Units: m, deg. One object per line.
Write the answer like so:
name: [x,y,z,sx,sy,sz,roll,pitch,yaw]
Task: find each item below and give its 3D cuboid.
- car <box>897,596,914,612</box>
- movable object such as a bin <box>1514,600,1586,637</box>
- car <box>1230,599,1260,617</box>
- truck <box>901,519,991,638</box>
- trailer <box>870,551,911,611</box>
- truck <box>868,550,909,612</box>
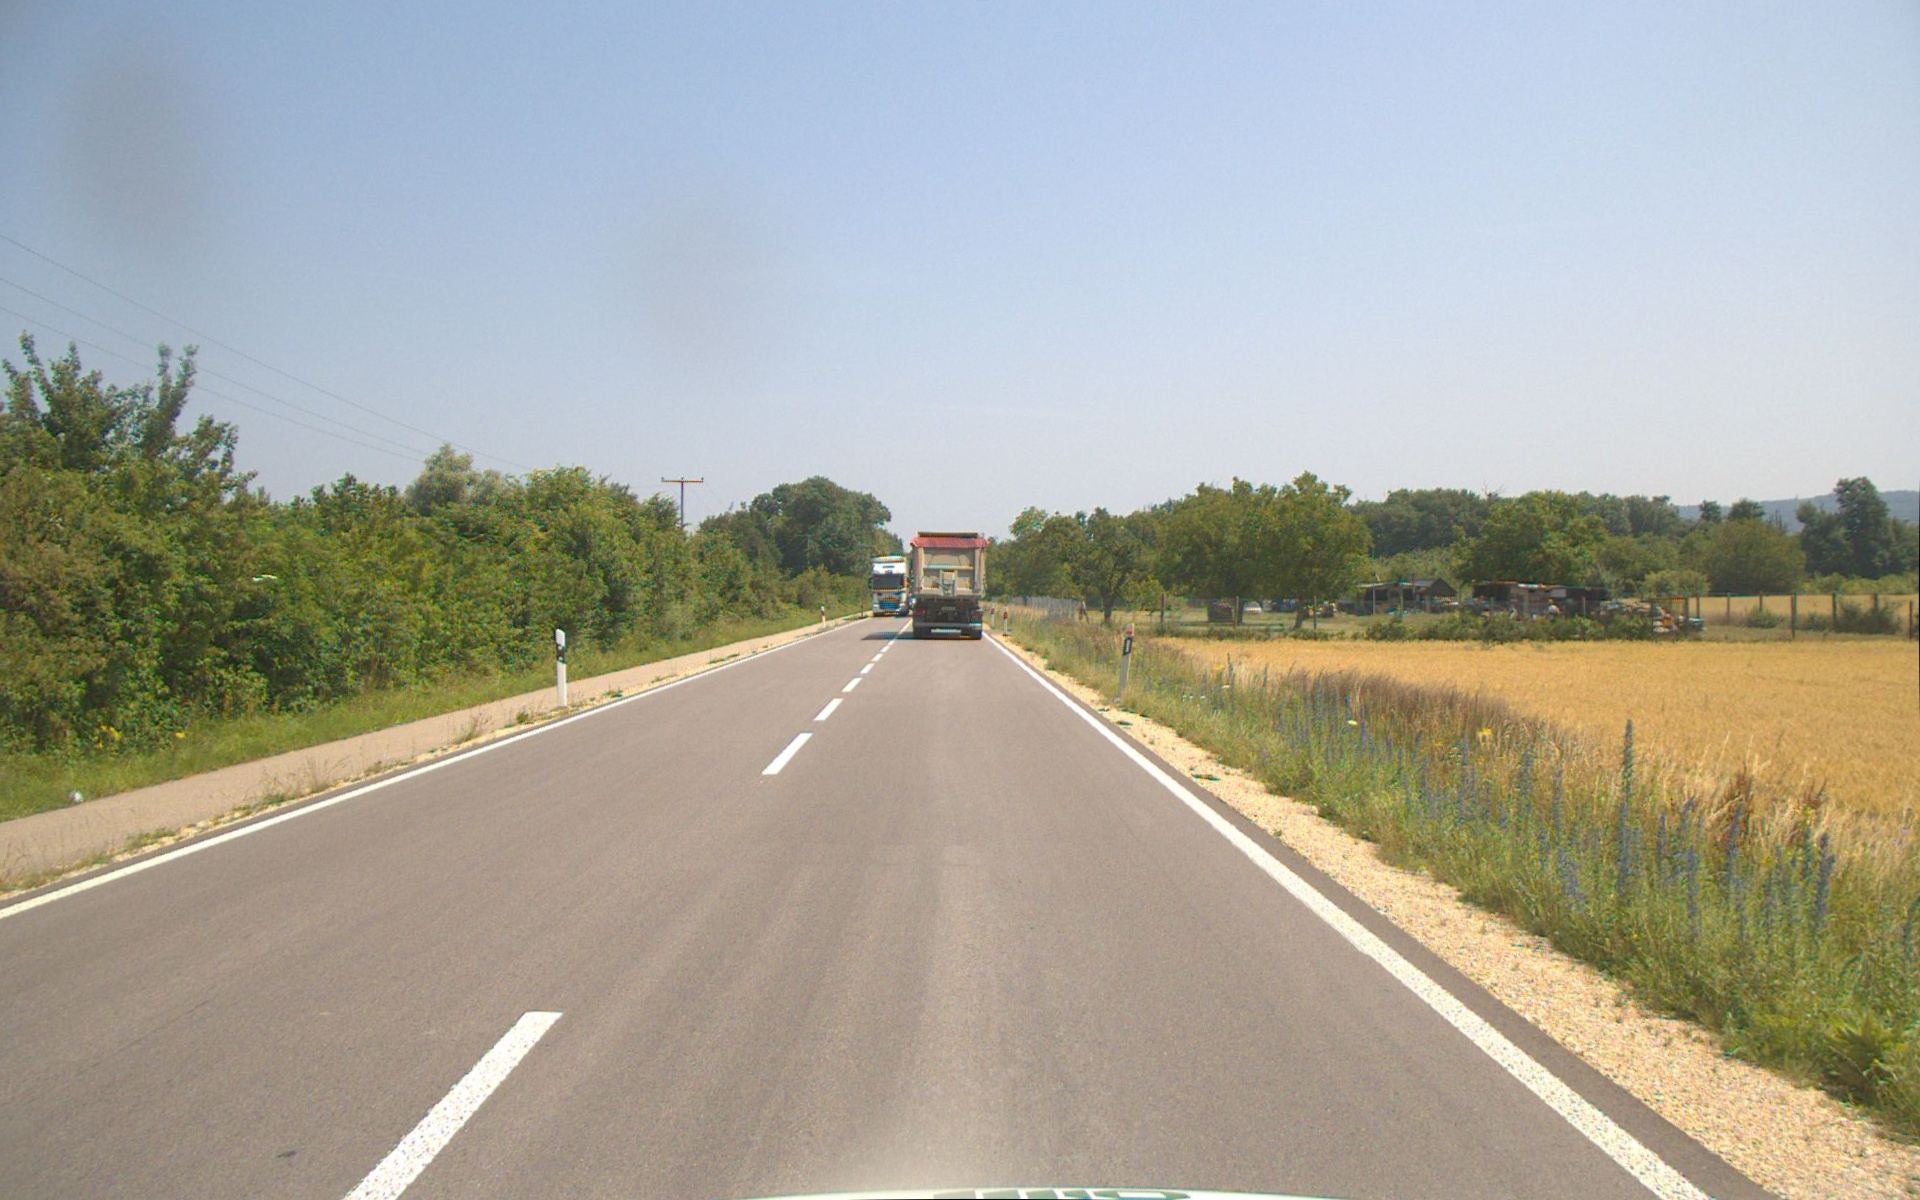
car: [-6.106,0.442,186.261,1.723,1.634,4.480,-2,0,-1]
movable object such as a bin: [25.655,0.789,72.049,1.540,1.522,3.655,0,0,-5]
car: [24.663,0.703,143.240,1.563,1.512,3.421,0,1,-9]
truck: [-0.576,-0.705,61.651,2.948,3.942,12.206,1,0,-1]
trailer: [-5.305,-1.412,128.891,2.662,4.340,13.807,-2,0,-1]
truck: [-5.243,-1.404,122.843,2.662,4.340,7.388,-2,0,-1]
